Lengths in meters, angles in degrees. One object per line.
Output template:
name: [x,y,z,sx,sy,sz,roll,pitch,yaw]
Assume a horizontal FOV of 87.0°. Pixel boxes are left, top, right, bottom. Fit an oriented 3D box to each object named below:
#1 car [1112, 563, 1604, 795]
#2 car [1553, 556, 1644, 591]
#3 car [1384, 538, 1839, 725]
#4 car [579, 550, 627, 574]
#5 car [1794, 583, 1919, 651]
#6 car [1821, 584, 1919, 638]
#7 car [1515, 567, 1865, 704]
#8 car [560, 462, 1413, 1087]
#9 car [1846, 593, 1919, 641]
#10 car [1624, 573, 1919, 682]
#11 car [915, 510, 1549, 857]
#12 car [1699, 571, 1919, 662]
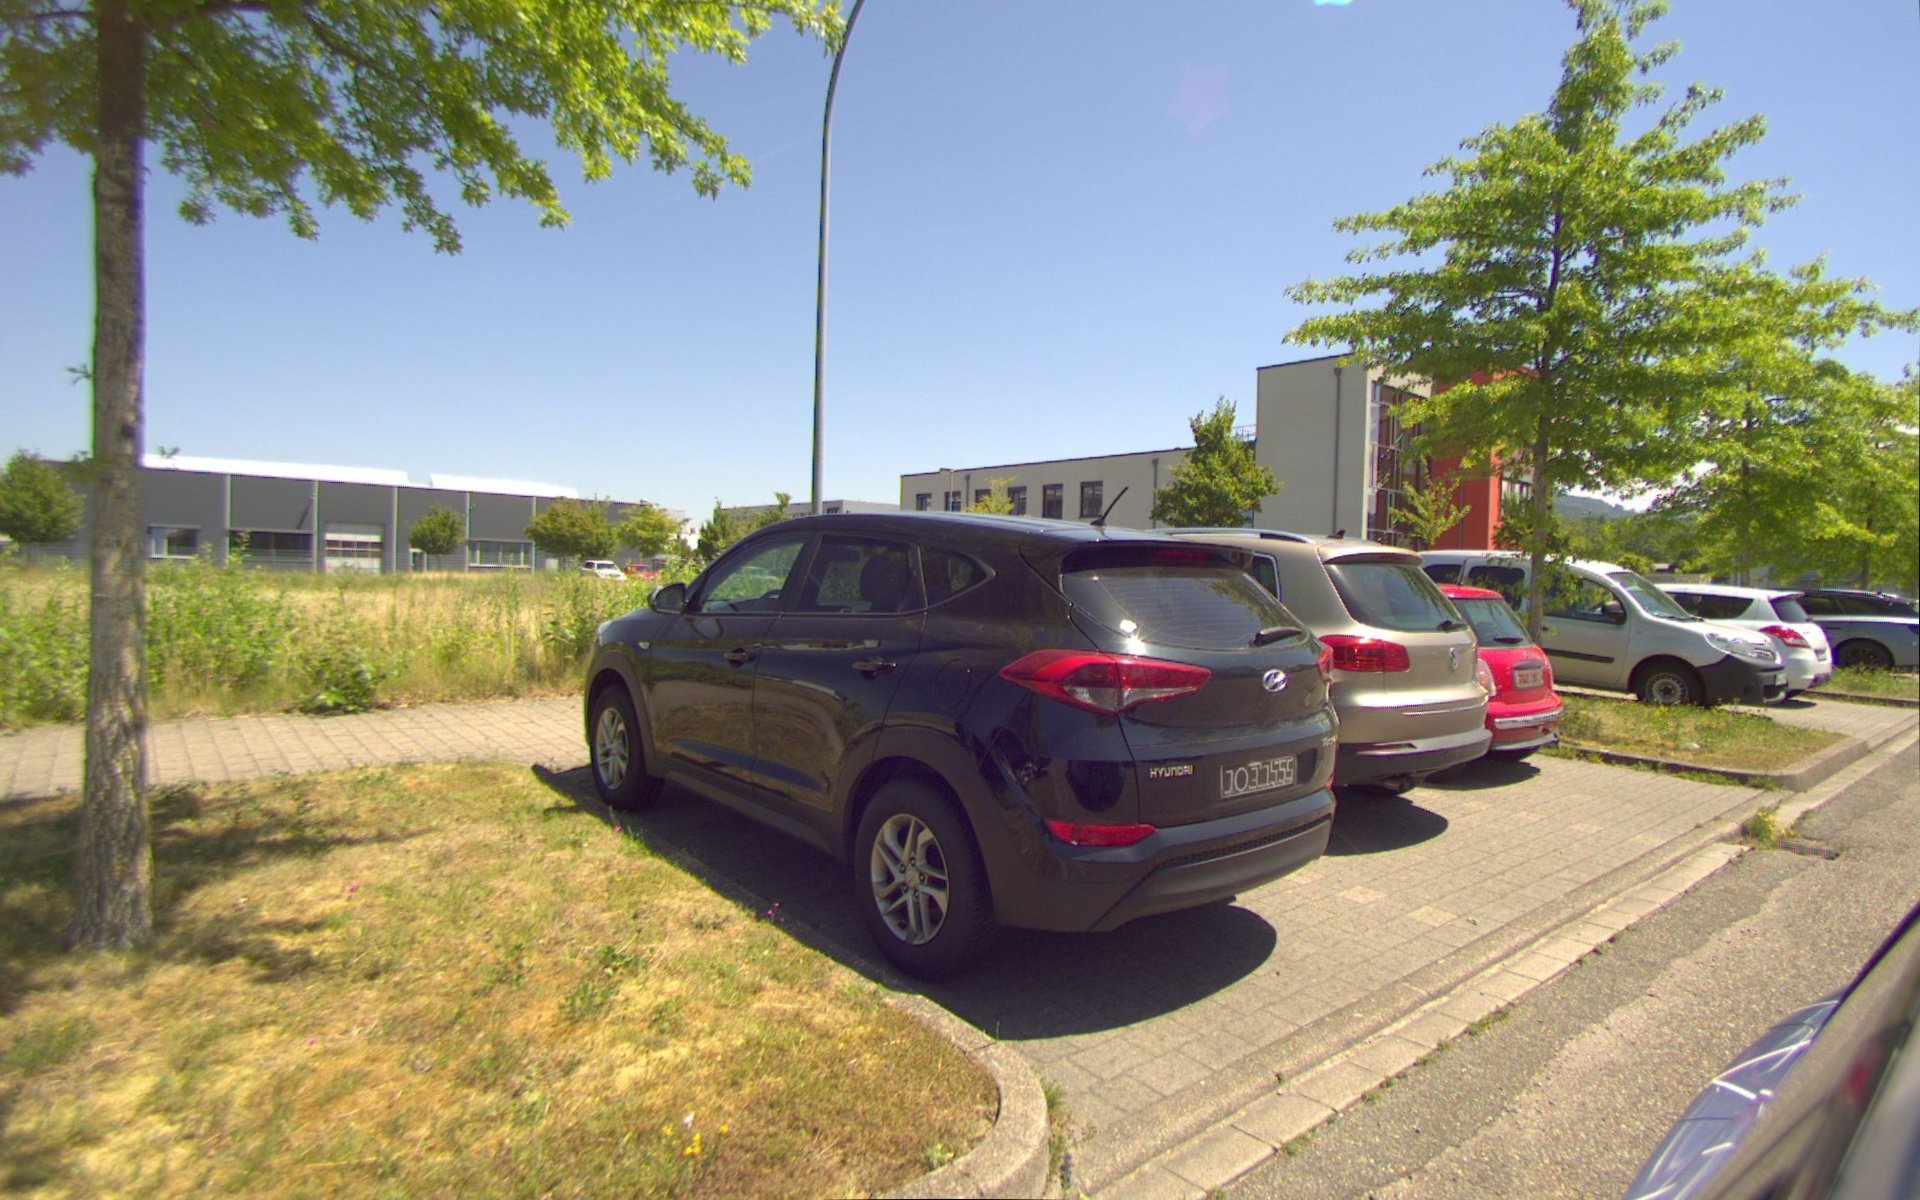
car: [3.202,0.484,8.628,1.723,1.434,3.466,1,3,-40]
car: [35.984,-1.505,57.106,1.778,1.798,3.995,4,-1,-40]
car: [7.915,0.224,12.711,1.763,1.852,4.416,1,3,-39]
car: [-23.500,-2.534,66.496,1.688,1.470,3.996,1,2,-40]
car: [24.059,0.463,25.868,1.745,1.572,3.848,2,2,-35]
car: [31.746,0.396,33.889,1.741,1.671,4.122,2,2,-38]
car: [10.133,0.391,14.265,1.646,1.521,3.641,0,3,-39]
car: [-0.305,0.355,4.927,1.751,1.717,4.183,1,3,-41]
car: [33.564,0.668,35.029,1.695,1.508,4.011,2,3,-36]
car: [15.012,0.424,18.265,1.882,1.580,4.723,0,3,-43]
car: [1.577,0.292,6.989,1.750,1.698,3.885,1,3,-40]
car: [18.728,0.310,21.913,1.663,1.645,4.058,1,3,-39]
